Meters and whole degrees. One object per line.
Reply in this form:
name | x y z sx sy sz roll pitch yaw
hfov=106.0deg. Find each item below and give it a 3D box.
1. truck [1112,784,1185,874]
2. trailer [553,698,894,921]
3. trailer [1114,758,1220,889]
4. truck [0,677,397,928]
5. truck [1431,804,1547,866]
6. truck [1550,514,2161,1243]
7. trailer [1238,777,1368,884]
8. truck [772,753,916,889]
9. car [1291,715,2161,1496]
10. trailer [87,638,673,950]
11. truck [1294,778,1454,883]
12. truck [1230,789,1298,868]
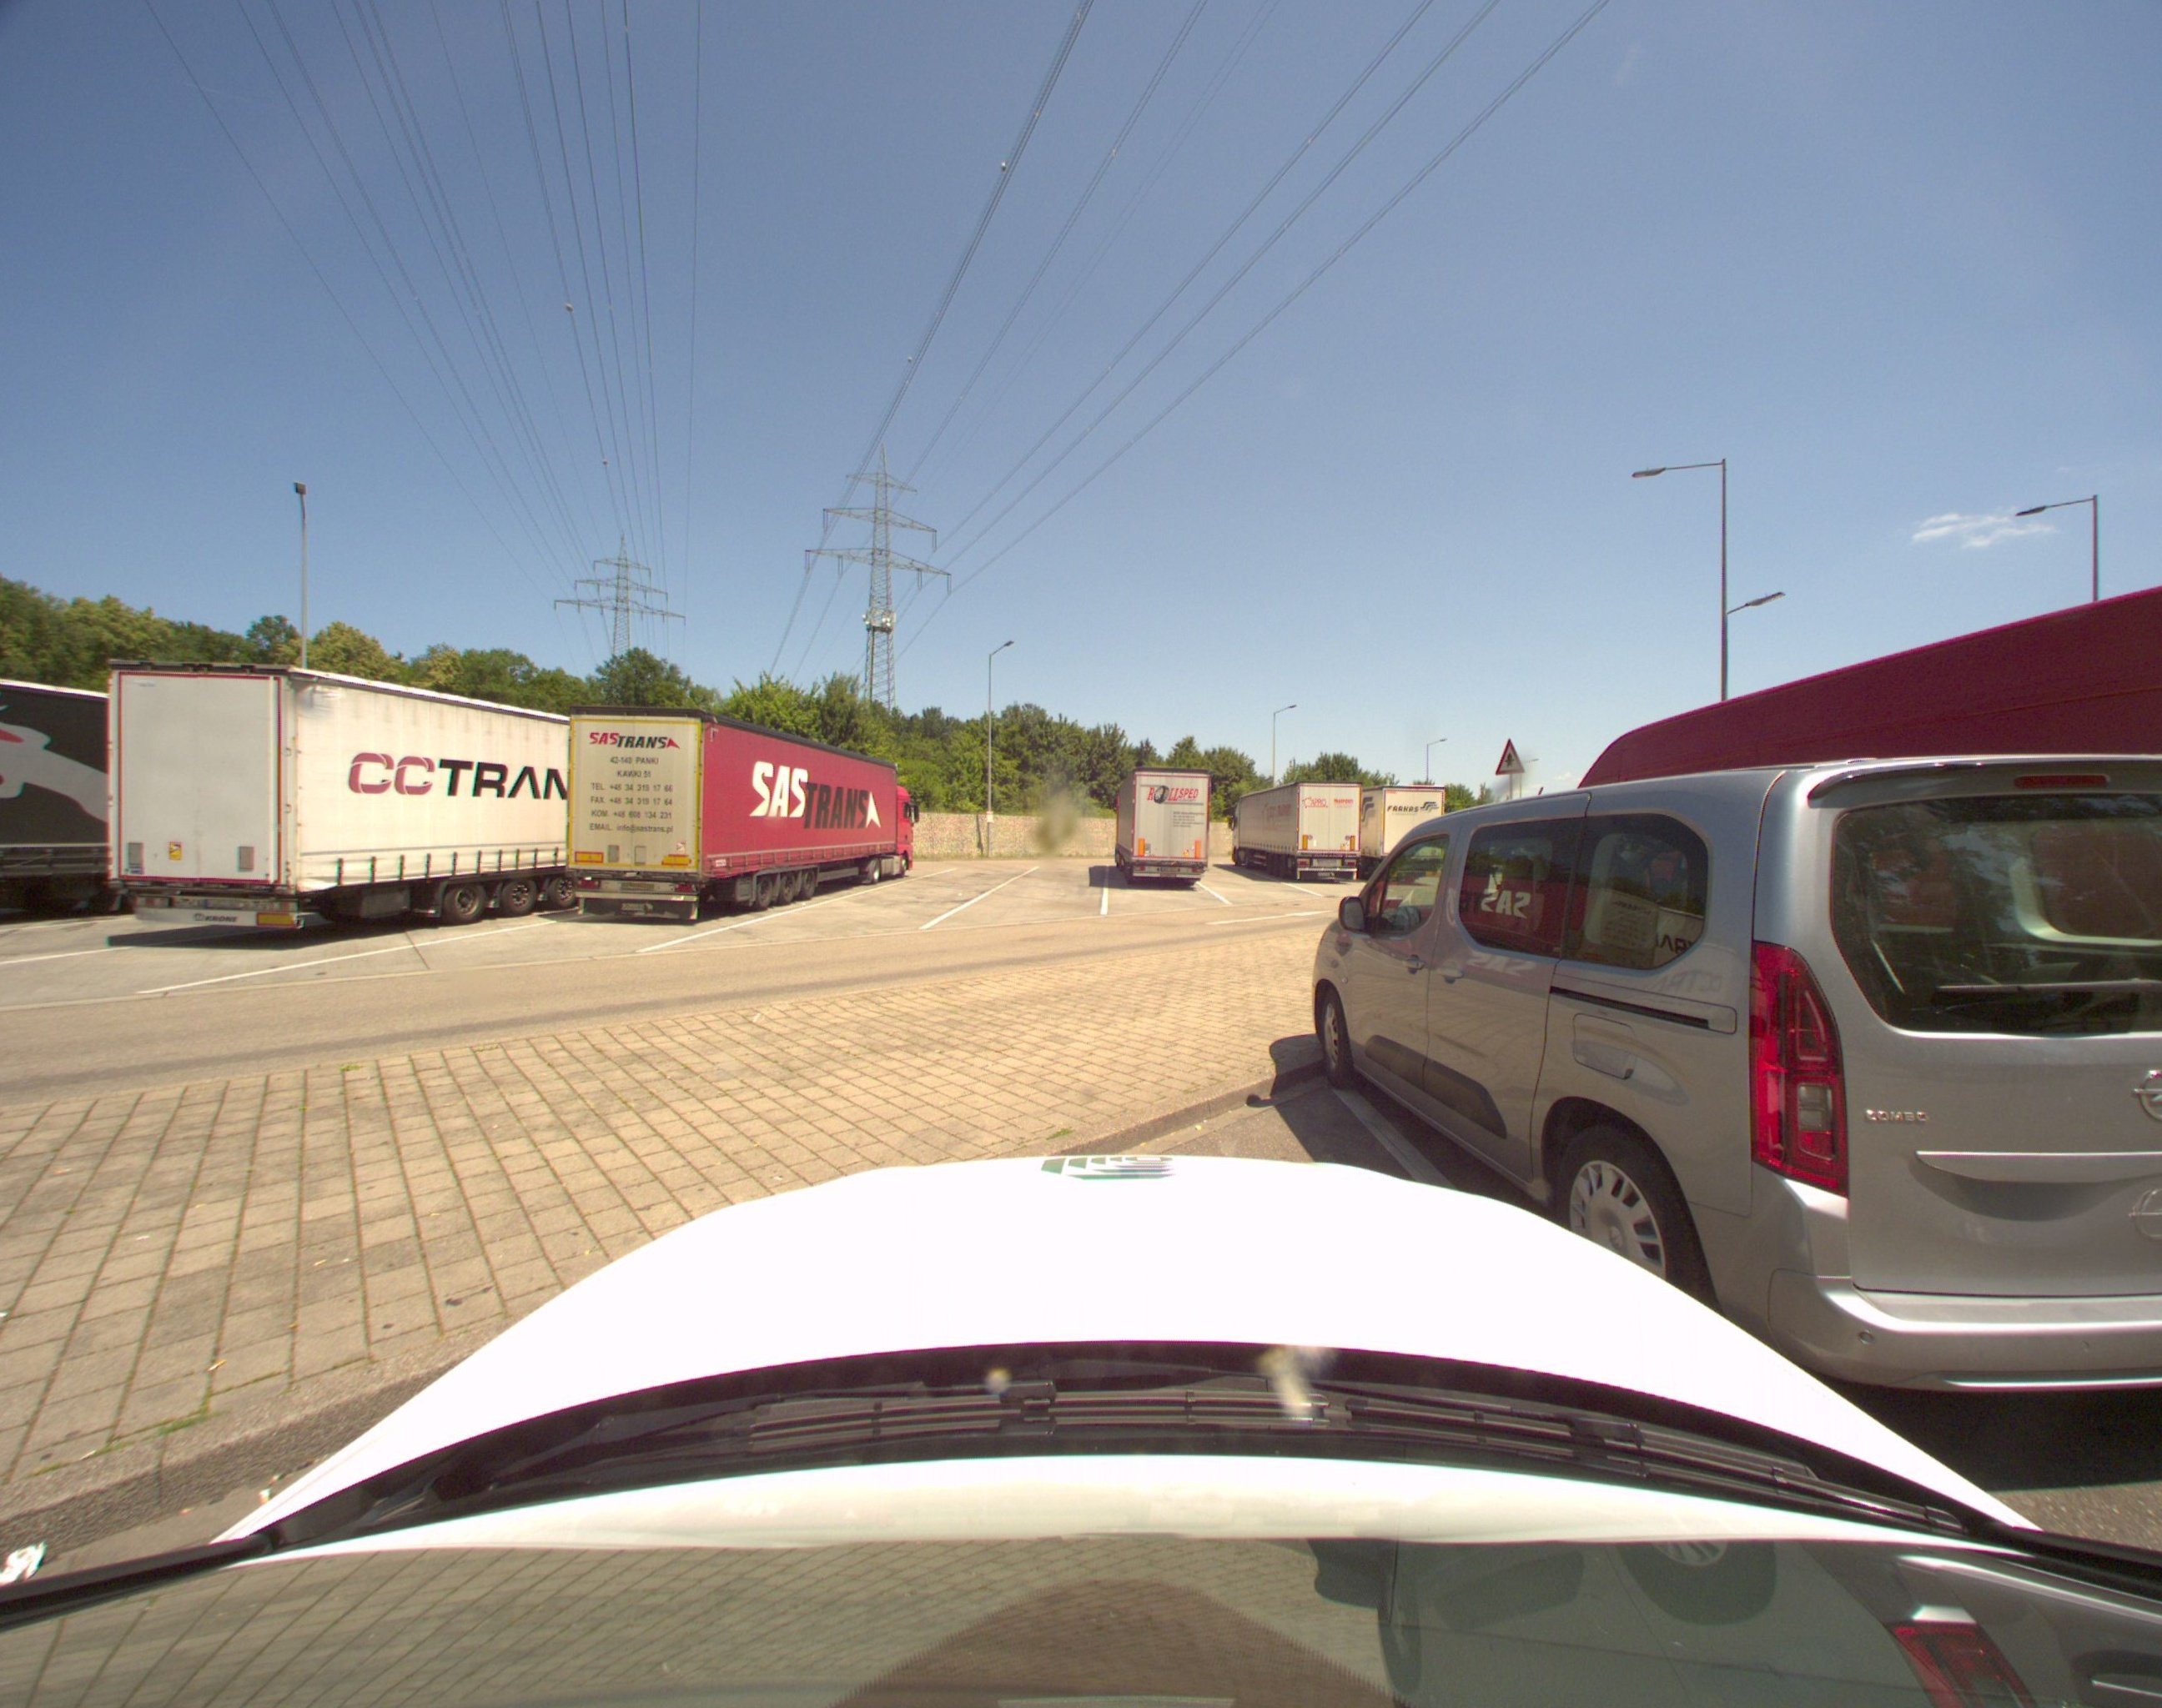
truck | 3.118 -1.218 39.525 3.016 3.928 6.848 1 2 1
trailer | -8.053 -0.917 21.523 2.739 4.057 13.292 -1 1 2
trailer | 3.037 -1.185 32.753 3.059 4.227 12.811 1 2 1
truck | -18.517 -0.856 15.976 2.627 4.018 8.640 -1 1 2
truck | 24.451 -1.125 49.454 3.013 3.437 8.534 -1 1 2
truck | 5.096 0.050 4.887 1.983 2.623 5.312 -1 1 6
trailer | 9.931 -1.021 38.426 2.865 4.124 13.577 0 1 2
truck | -7.846 -1.049 28.027 2.733 4.081 6.832 -1 1 1
car | 2.467 0.529 3.865 1.821 1.753 3.998 -1 1 -2
trailer | -12.105 -0.895 16.083 2.734 4.263 9.740 0 1 3
truck | 13.565 -1.054 39.670 2.894 4.124 14.533 2 1 2
truck | 10.117 -1.390 45.428 2.747 4.124 5.286 -1 1 2
